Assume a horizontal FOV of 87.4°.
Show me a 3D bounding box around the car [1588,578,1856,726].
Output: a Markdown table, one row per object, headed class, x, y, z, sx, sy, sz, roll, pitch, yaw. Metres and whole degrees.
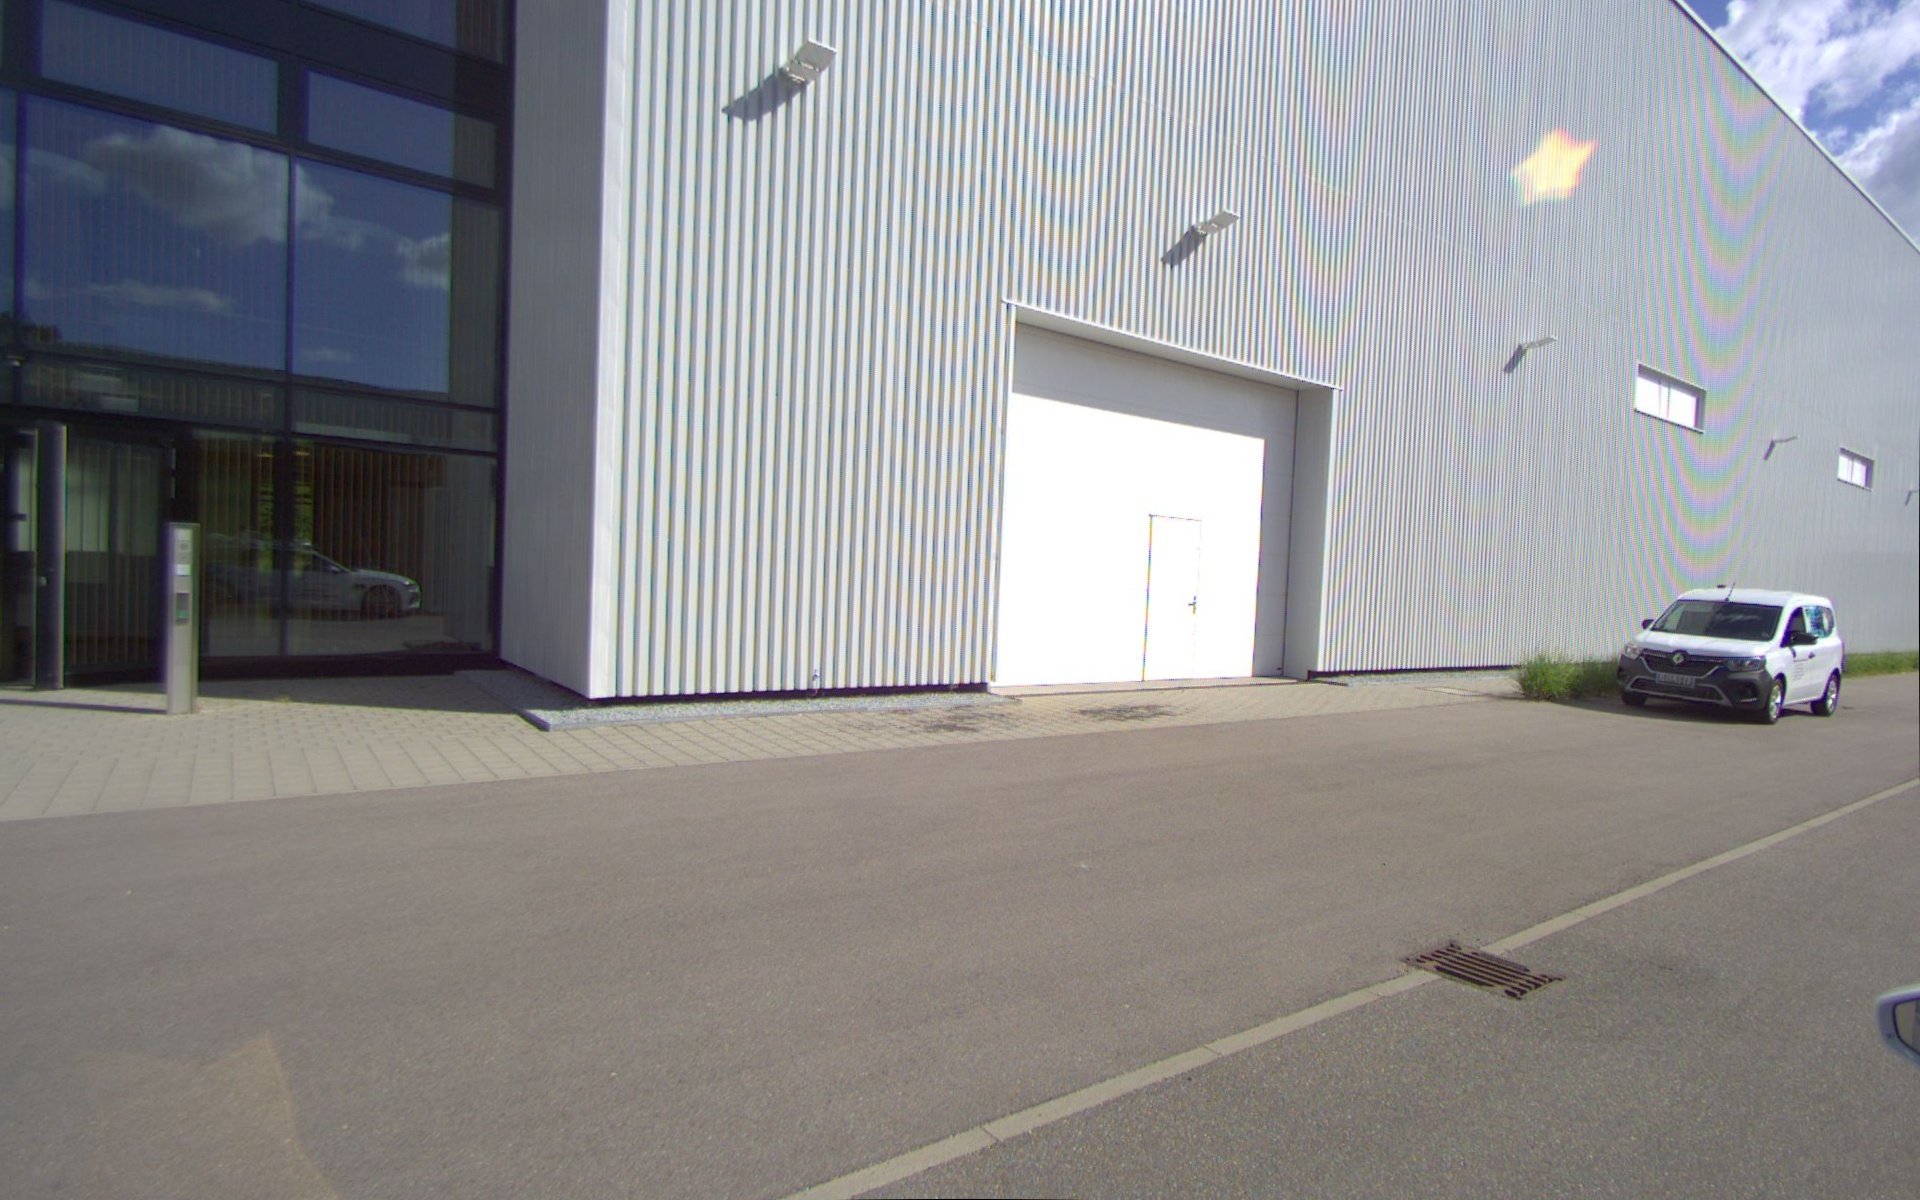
| class | x | y | z | sx | sy | sz | roll | pitch | yaw |
| --- | --- | --- | --- | --- | --- | --- | --- | --- | --- |
| car | 11.453 | 0.692 | 14.994 | 4.555 | 1.814 | 1.914 | 1 | 3 | -37 |
